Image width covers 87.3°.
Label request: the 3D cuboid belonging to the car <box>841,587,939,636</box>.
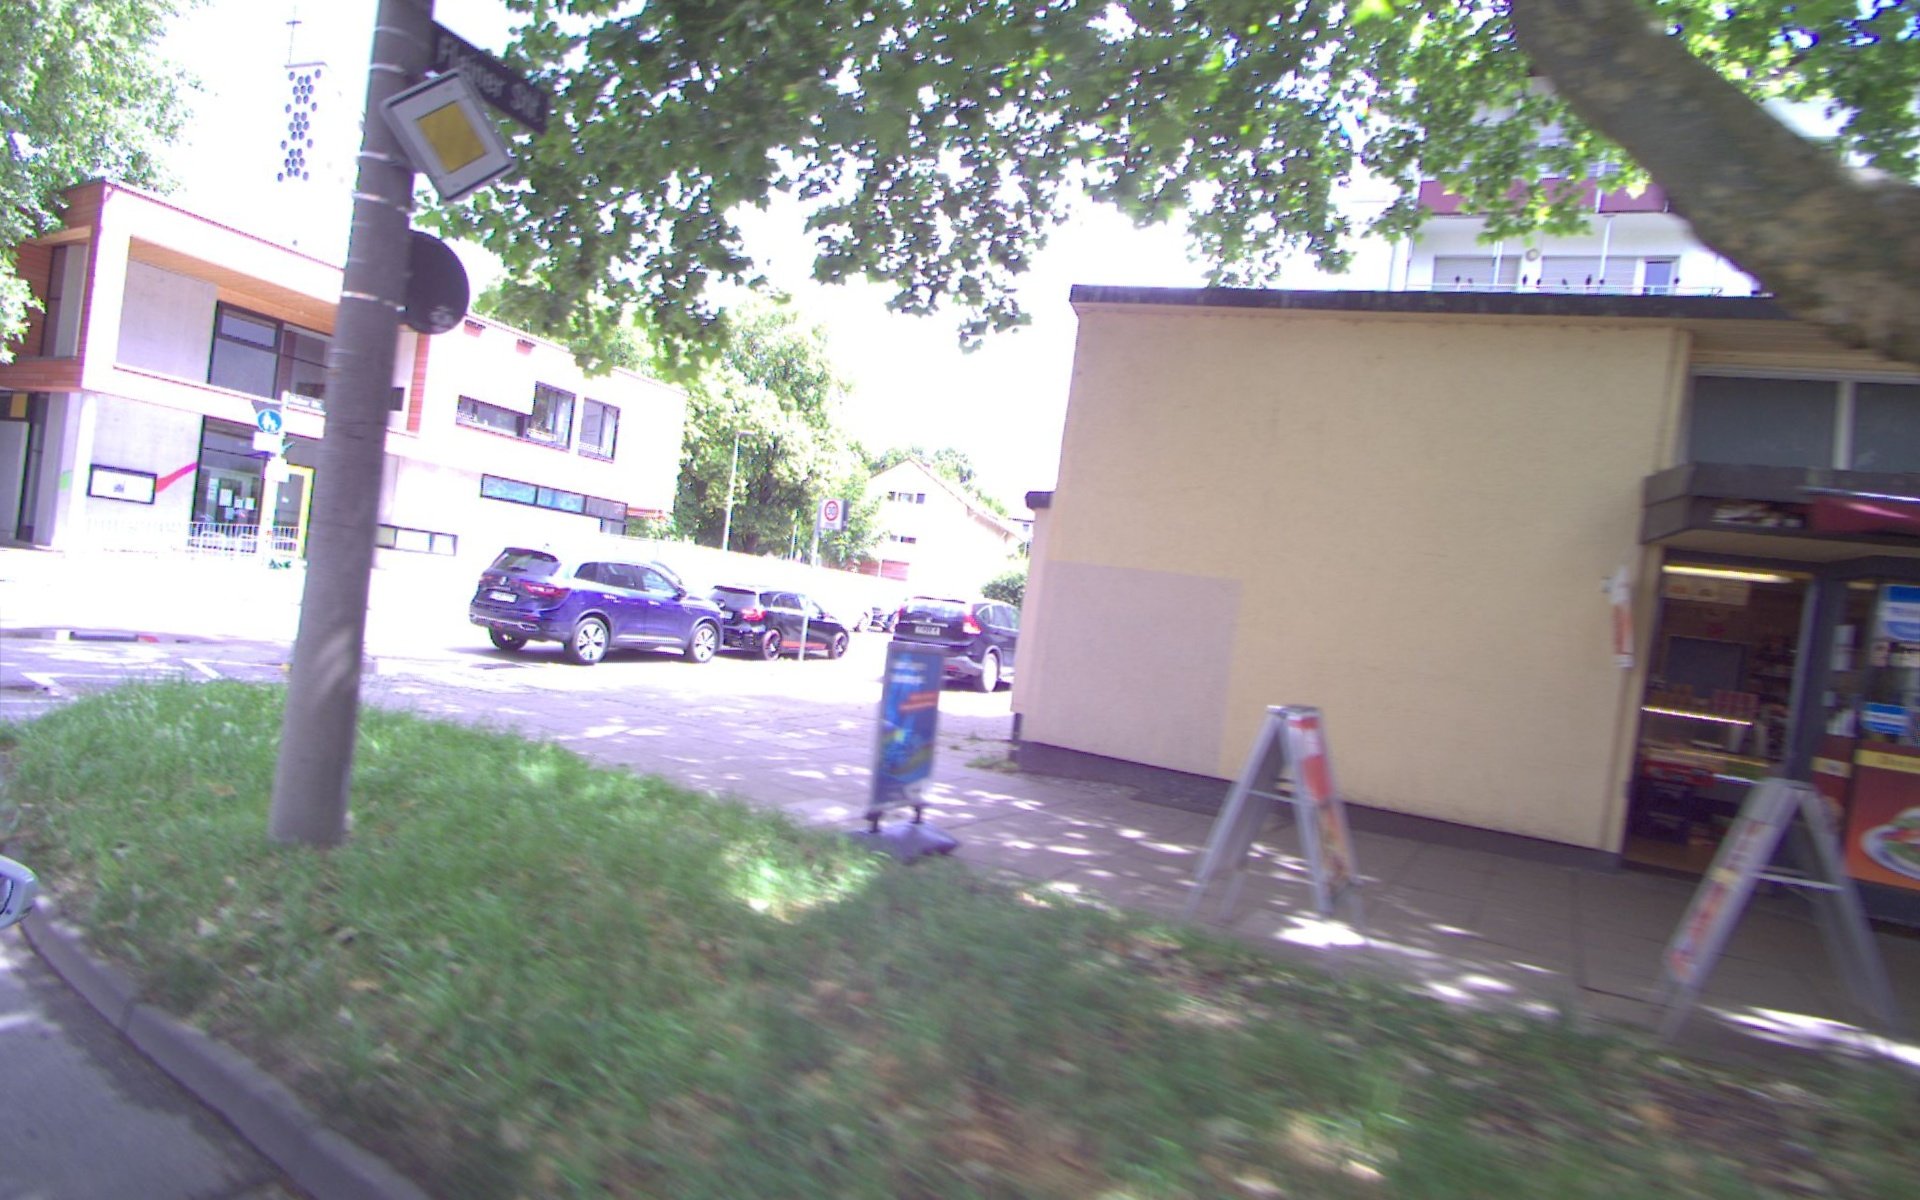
[{"bbox_3d":[-2.583,0.467,38.389,1.858,1.474,4.242,7,0,23],"label":"car"}]

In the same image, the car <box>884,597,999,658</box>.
[{"bbox_3d":[-0.461,0.867,30.022,1.841,1.472,4.122,8,0,21],"label":"car"}]

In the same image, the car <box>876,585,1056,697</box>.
[{"bbox_3d":[0.250,0.779,18.909,1.778,1.675,4.104,7,0,23],"label":"car"}]

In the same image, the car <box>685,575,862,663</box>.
[{"bbox_3d":[-3.719,0.447,20.798,1.498,1.462,3.997,8,1,23],"label":"car"}]

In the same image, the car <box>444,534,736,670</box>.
[{"bbox_3d":[-5.789,0.083,16.317,1.976,1.703,4.188,8,1,23],"label":"car"}]

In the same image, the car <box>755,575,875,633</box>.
[{"bbox_3d":[-4.676,0.186,33.181,1.858,1.474,4.242,7,0,23],"label":"car"}]

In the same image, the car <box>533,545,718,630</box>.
[{"bbox_3d":[-8.128,-0.232,24.863,1.858,1.624,4.242,7,0,23],"label":"car"}]

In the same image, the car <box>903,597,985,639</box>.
[{"bbox_3d":[-0.648,0.816,43.876,1.858,1.474,4.242,7,0,23],"label":"car"}]
